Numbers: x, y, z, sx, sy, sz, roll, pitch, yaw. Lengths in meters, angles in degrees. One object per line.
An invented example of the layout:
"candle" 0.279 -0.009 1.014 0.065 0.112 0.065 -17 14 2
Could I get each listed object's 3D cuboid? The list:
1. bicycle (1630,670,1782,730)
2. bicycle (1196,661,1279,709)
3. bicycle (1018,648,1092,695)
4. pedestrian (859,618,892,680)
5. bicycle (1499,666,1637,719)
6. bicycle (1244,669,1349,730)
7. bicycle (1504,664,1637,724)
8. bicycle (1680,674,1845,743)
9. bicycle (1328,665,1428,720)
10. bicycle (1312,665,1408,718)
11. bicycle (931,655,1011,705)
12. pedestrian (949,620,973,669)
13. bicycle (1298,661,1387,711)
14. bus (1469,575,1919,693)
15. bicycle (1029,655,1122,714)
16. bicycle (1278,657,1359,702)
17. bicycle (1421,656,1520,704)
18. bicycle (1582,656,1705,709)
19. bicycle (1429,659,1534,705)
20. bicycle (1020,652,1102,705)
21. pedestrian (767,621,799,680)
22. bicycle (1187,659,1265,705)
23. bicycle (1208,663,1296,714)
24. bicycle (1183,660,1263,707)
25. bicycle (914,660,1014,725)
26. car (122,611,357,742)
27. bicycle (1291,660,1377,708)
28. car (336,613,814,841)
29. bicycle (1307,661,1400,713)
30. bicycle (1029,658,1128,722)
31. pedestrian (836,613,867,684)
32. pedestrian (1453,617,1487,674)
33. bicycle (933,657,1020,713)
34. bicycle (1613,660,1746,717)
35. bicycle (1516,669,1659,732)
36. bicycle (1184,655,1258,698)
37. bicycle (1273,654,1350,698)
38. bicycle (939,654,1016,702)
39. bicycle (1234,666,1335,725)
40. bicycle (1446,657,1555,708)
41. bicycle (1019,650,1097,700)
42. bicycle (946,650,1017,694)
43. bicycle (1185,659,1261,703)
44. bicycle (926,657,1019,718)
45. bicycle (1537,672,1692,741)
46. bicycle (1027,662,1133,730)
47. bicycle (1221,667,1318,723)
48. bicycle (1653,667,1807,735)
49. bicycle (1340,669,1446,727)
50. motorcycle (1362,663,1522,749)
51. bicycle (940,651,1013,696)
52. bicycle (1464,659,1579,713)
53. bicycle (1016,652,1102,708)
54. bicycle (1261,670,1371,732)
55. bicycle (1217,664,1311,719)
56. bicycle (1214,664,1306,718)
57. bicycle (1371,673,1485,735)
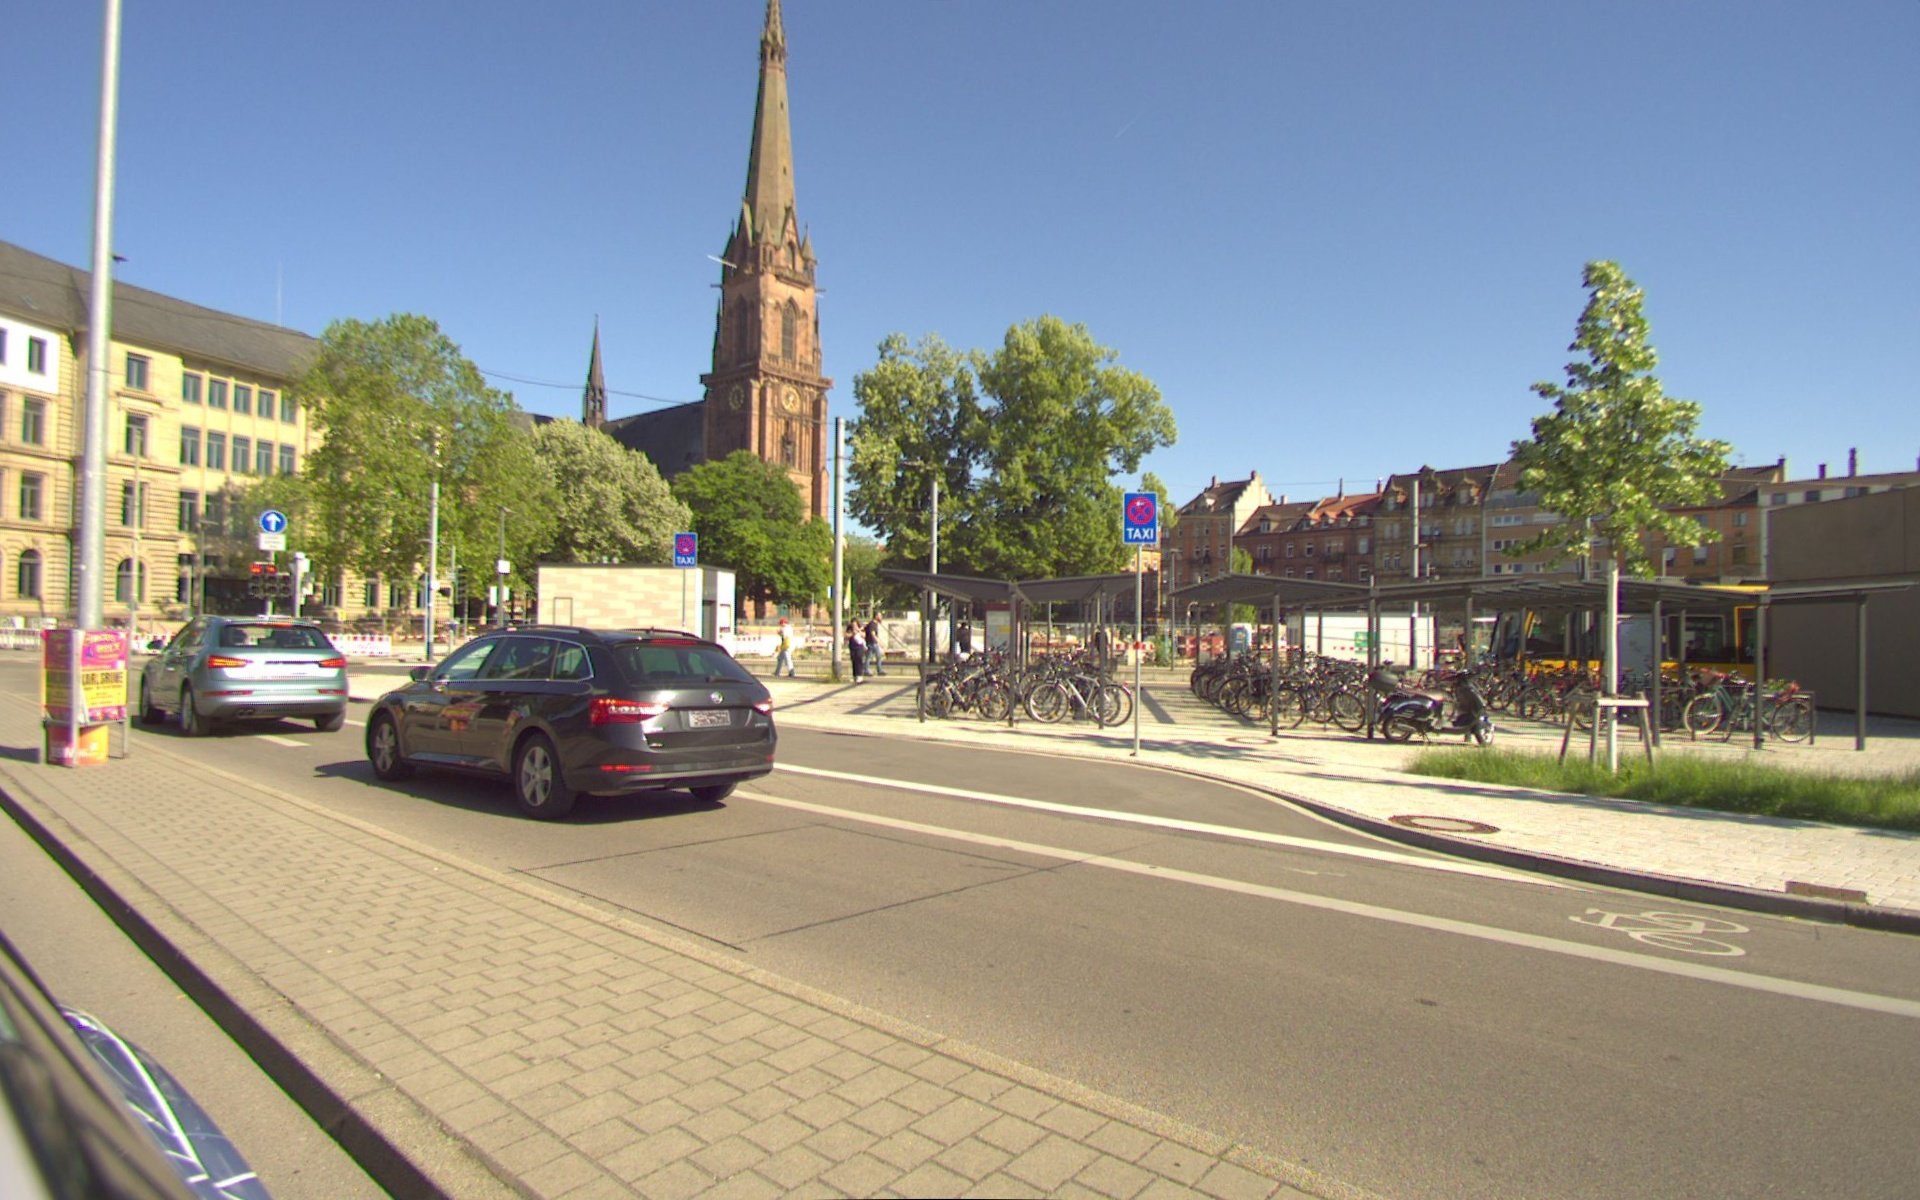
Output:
"bicycle" 13.478 1.801 18.327 2.117 1.005 0.690 -1 0 7
"bicycle" 5.924 1.809 21.637 1.661 0.980 0.406 1 -5 3
"bicycle" 2.313 1.727 24.675 1.755 1.083 0.406 1 0 6
"pedestrian" -2.413 1.390 28.982 0.823 1.740 0.620 0 -2 4
"bicycle" 11.836 1.799 19.762 2.208 0.951 0.685 -1 0 7
"bicycle" 5.792 1.713 17.461 1.661 0.980 0.406 1 0 3
"bicycle" 11.320 1.737 18.810 2.048 1.045 0.533 -1 0 8
"bicycle" 12.765 1.718 16.135 2.048 1.045 0.533 -1 0 8
"bicycle" 7.840 1.734 19.011 1.661 0.980 0.406 -1 0 3
"bicycle" 7.715 1.766 19.527 1.661 0.980 0.406 -1 0 3
"bicycle" 0.228 1.679 21.402 1.663 1.006 0.406 0 0 8
"pedestrian" 0.025 1.703 38.992 0.610 1.874 0.703 2 -2 -39
"bicycle" 7.859 1.764 20.823 1.661 0.980 0.406 -1 0 3
"bus" 22.076 0.939 28.629 13.462 3.095 2.859 0 -2 6
"bicycle" 2.234 1.624 19.580 1.755 1.083 0.406 1 0 6
"bicycle" 8.071 1.792 22.836 1.661 0.980 0.406 -1 0 3
"bicycle" 12.299 1.923 24.426 2.048 1.045 0.533 1 3 8
"bicycle" 14.076 1.700 20.874 2.048 1.045 0.533 -1 0 8
"bicycle" 12.029 1.883 23.371 2.048 1.045 0.533 -1 -4 8
"bicycle" 2.191 1.698 22.026 1.755 1.083 0.406 1 0 6
"pedestrian" -4.958 1.399 28.358 0.695 1.635 0.618 0 -2 14
"bicycle" 6.052 1.863 23.049 1.661 0.980 0.406 1 -5 3
"bicycle" 5.923 1.788 20.562 1.661 0.980 0.406 1 -5 3
"bicycle" 5.784 1.841 22.294 1.661 0.980 0.406 1 -5 3
"bicycle" 0.065 1.577 17.381 1.663 1.006 0.406 2 0 8
"car" -10.329 1.011 14.393 4.256 1.594 1.769 -1 -4 42
"bicycle" 7.987 1.793 21.621 1.661 0.980 0.406 -1 0 3
"car" -3.597 0.940 8.975 4.780 1.516 1.795 -1 -4 40
"bicycle" 7.856 1.734 20.226 1.661 0.980 0.406 -1 0 3
"bicycle" 2.138 1.620 18.335 1.753 1.083 0.406 1 0 6
"pedestrian" -2.908 1.285 27.240 0.614 1.874 0.699 0 -2 14
"pedestrian" 17.839 1.585 35.422 0.793 1.931 0.769 0 -2 4
"bicycle" 0.326 1.667 19.943 1.663 1.006 0.406 2 0 8
"bicycle" 13.851 1.704 19.522 2.048 1.045 0.533 -1 0 8
"bicycle" 10.910 1.742 17.645 2.048 1.045 0.533 -1 0 8
"bicycle" 6.254 1.840 24.309 1.661 0.980 0.406 1 -5 3
"bicycle" 8.290 1.789 23.912 1.661 0.980 0.406 -1 0 3
"bicycle" 0.383 1.708 22.282 1.663 1.006 0.406 0 0 8
"bicycle" 5.814 1.713 18.186 1.661 0.980 0.406 1 0 3
"bicycle" 11.864 1.805 22.253 2.048 1.045 0.533 -1 2 8
"bicycle" 2.271 1.735 23.496 1.755 1.083 0.406 1 0 6
"bicycle" 0.516 1.705 24.185 1.663 1.006 0.406 0 0 8
"bicycle" 6.136 1.885 23.622 1.661 0.980 0.406 1 -5 3
"bicycle" 0.229 1.600 18.599 1.663 1.006 0.406 2 0 8
"bicycle" 10.571 1.715 16.387 2.048 1.045 0.533 -1 0 8
"bicycle" 2.020 1.609 17.090 1.753 1.083 0.406 1 -3 6
"bicycle" 5.727 1.753 18.766 1.661 0.980 0.406 -1 0 3
"bicycle" 12.987 1.700 17.113 2.030 1.087 0.604 -1 0 7
"bicycle" 7.641 1.728 17.890 1.661 0.980 0.406 -1 0 3
"motorcycle" 7.191 1.574 15.157 2.059 1.228 0.569 -1 -2 3
"bicycle" 0.392 1.705 23.660 1.663 1.006 0.406 0 0 8
"bicycle" 11.774 1.799 21.262 2.048 1.045 0.533 -1 2 8
"bicycle" 2.051 1.646 20.971 1.755 1.083 0.406 1 0 6
"bicycle" 5.932 1.688 16.887 1.661 0.980 0.406 -1 0 3
"bicycle" 5.812 1.741 19.373 1.661 0.980 0.406 1 0 3
"bicycle" 5.900 1.784 19.956 1.661 0.980 0.406 1 0 3
"bicycle" 7.766 1.727 16.819 1.661 0.980 0.406 -1 0 3
